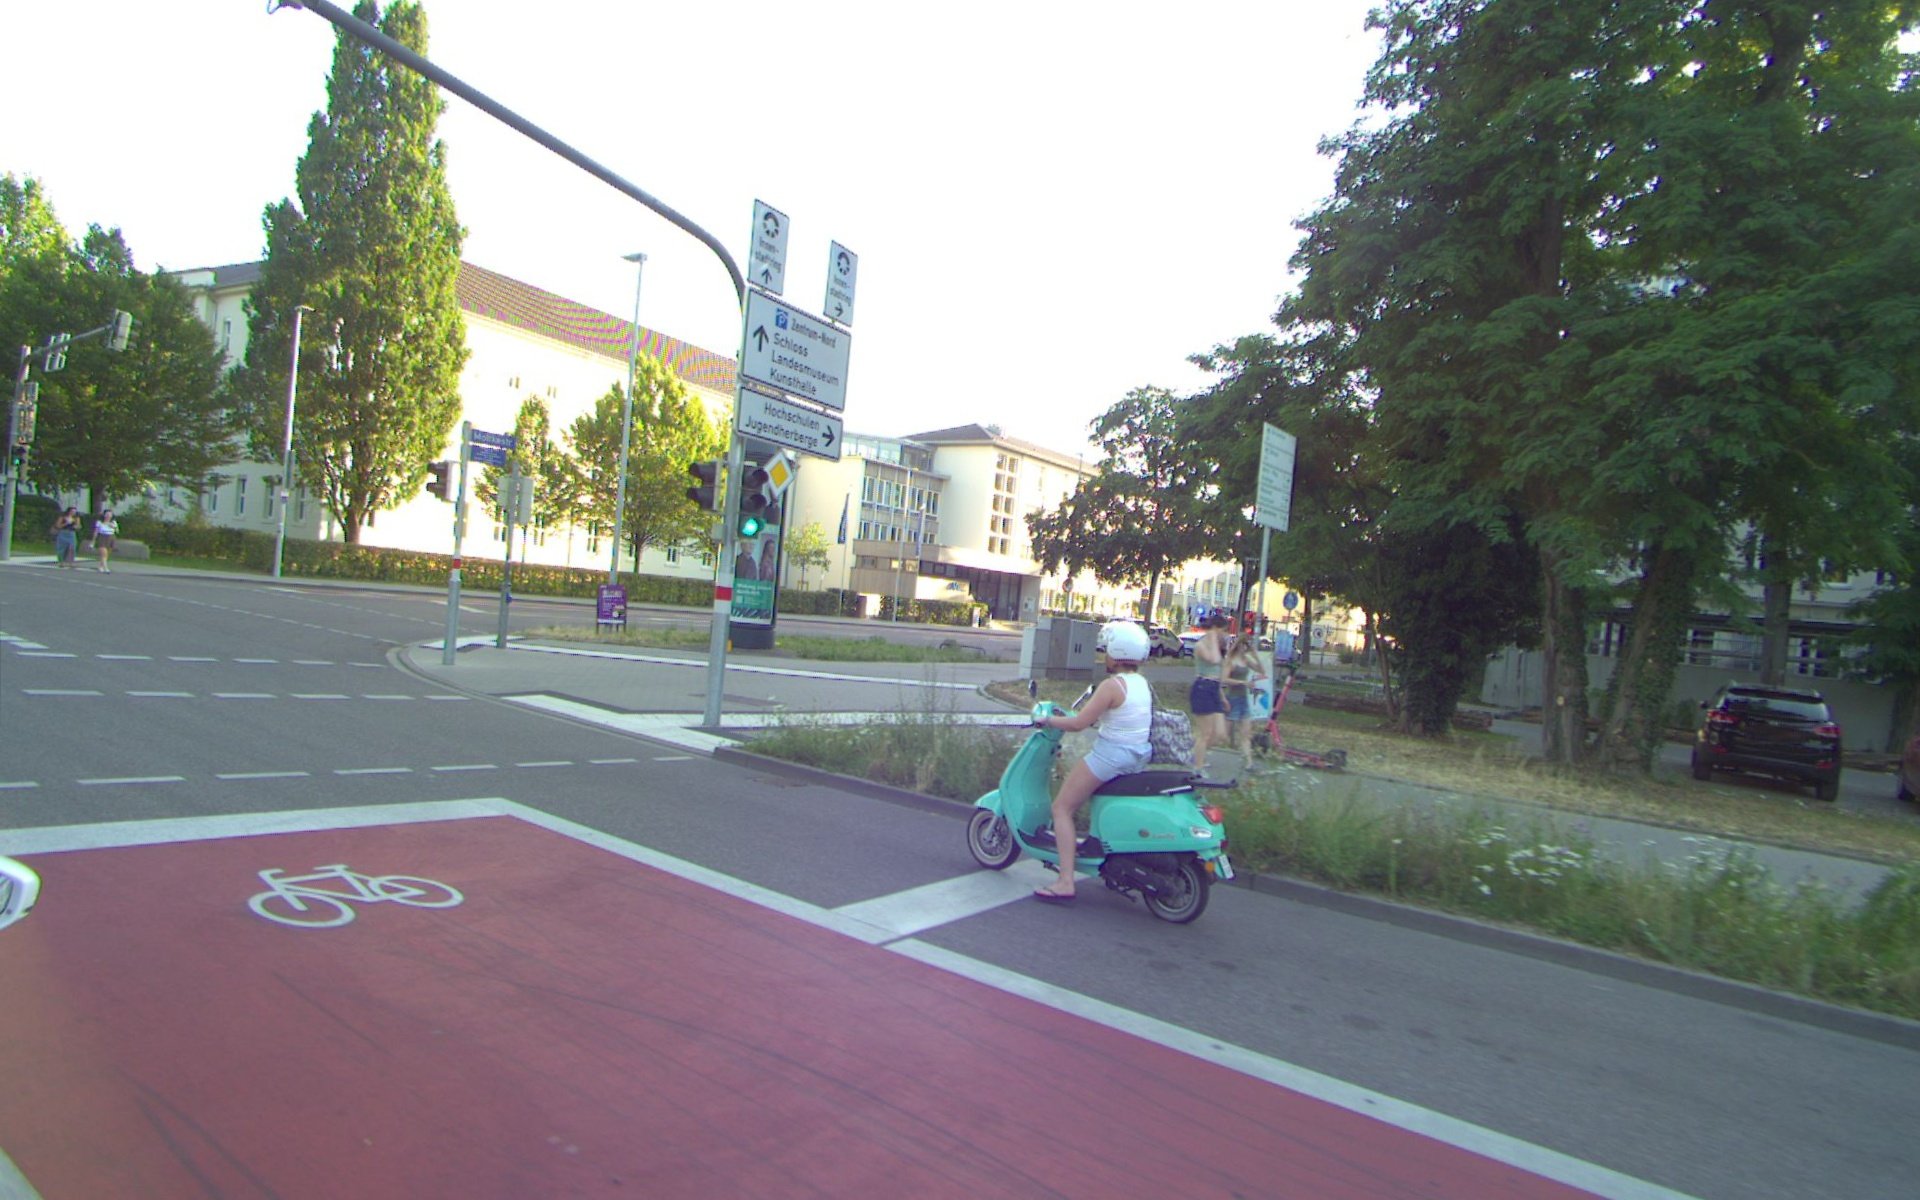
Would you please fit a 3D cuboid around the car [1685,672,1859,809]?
[{"bbox_3d":[13.474,2.223,16.902,1.890,1.762,4.223,6,0,37],"label":"car"}]

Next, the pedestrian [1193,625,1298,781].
[{"bbox_3d":[3.111,1.097,10.953,0.776,1.542,0.735,6,1,33],"label":"pedestrian"}]

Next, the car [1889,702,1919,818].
[{"bbox_3d":[15.760,2.528,15.325,1.890,1.631,3.983,6,0,38],"label":"car"}]

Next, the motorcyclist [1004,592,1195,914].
[{"bbox_3d":[0.852,0.884,6.115,0.680,1.758,0.737,7,1,40],"label":"motorcyclist"}]

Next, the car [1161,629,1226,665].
[{"bbox_3d":[12.611,2.552,54.175,1.969,1.660,3.987,6,0,35],"label":"car"}]

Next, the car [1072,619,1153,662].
[{"bbox_3d":[7.123,1.882,46.672,1.873,1.660,3.983,6,0,38],"label":"car"}]

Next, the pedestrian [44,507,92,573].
[{"bbox_3d":[-24.100,-1.613,27.180,0.831,1.643,0.681,7,2,31],"label":"pedestrian"}]

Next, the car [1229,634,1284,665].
[{"bbox_3d":[18.422,3.081,62.477,1.969,1.660,3.987,6,0,35],"label":"car"}]

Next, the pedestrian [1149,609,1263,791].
[{"bbox_3d":[2.485,0.980,10.138,0.764,1.681,0.719,6,1,34],"label":"pedestrian"}]

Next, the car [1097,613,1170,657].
[{"bbox_3d":[9.403,1.918,54.226,2.024,1.884,4.486,6,-2,35],"label":"car"}]

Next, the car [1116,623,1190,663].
[{"bbox_3d":[9.678,2.164,50.218,1.970,1.632,3.984,6,0,37],"label":"car"}]

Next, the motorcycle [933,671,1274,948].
[{"bbox_3d":[0.815,1.167,6.117,1.867,1.212,0.681,6,0,40],"label":"motorcycle"}]

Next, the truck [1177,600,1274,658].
[{"bbox_3d":[17.660,2.015,66.268,2.600,3.179,10.243,6,0,35],"label":"truck"}]

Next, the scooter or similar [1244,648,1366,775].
[{"bbox_3d":[4.004,1.271,11.712,1.159,1.288,0.440,6,1,31],"label":"scooter or similar"}]

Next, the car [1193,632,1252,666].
[{"bbox_3d":[15.405,2.885,58.911,1.969,1.660,3.987,6,0,35],"label":"car"}]

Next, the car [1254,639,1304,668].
[{"bbox_3d":[21.328,3.606,67.159,1.969,1.660,3.987,6,0,35],"label":"car"}]

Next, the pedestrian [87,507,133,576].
[{"bbox_3d":[-23.256,-1.602,27.516,0.677,1.776,0.681,7,2,31],"label":"pedestrian"}]

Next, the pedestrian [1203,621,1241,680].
[{"bbox_3d":[8.225,1.587,31.600,0.694,1.761,0.892,7,1,40],"label":"pedestrian"}]
